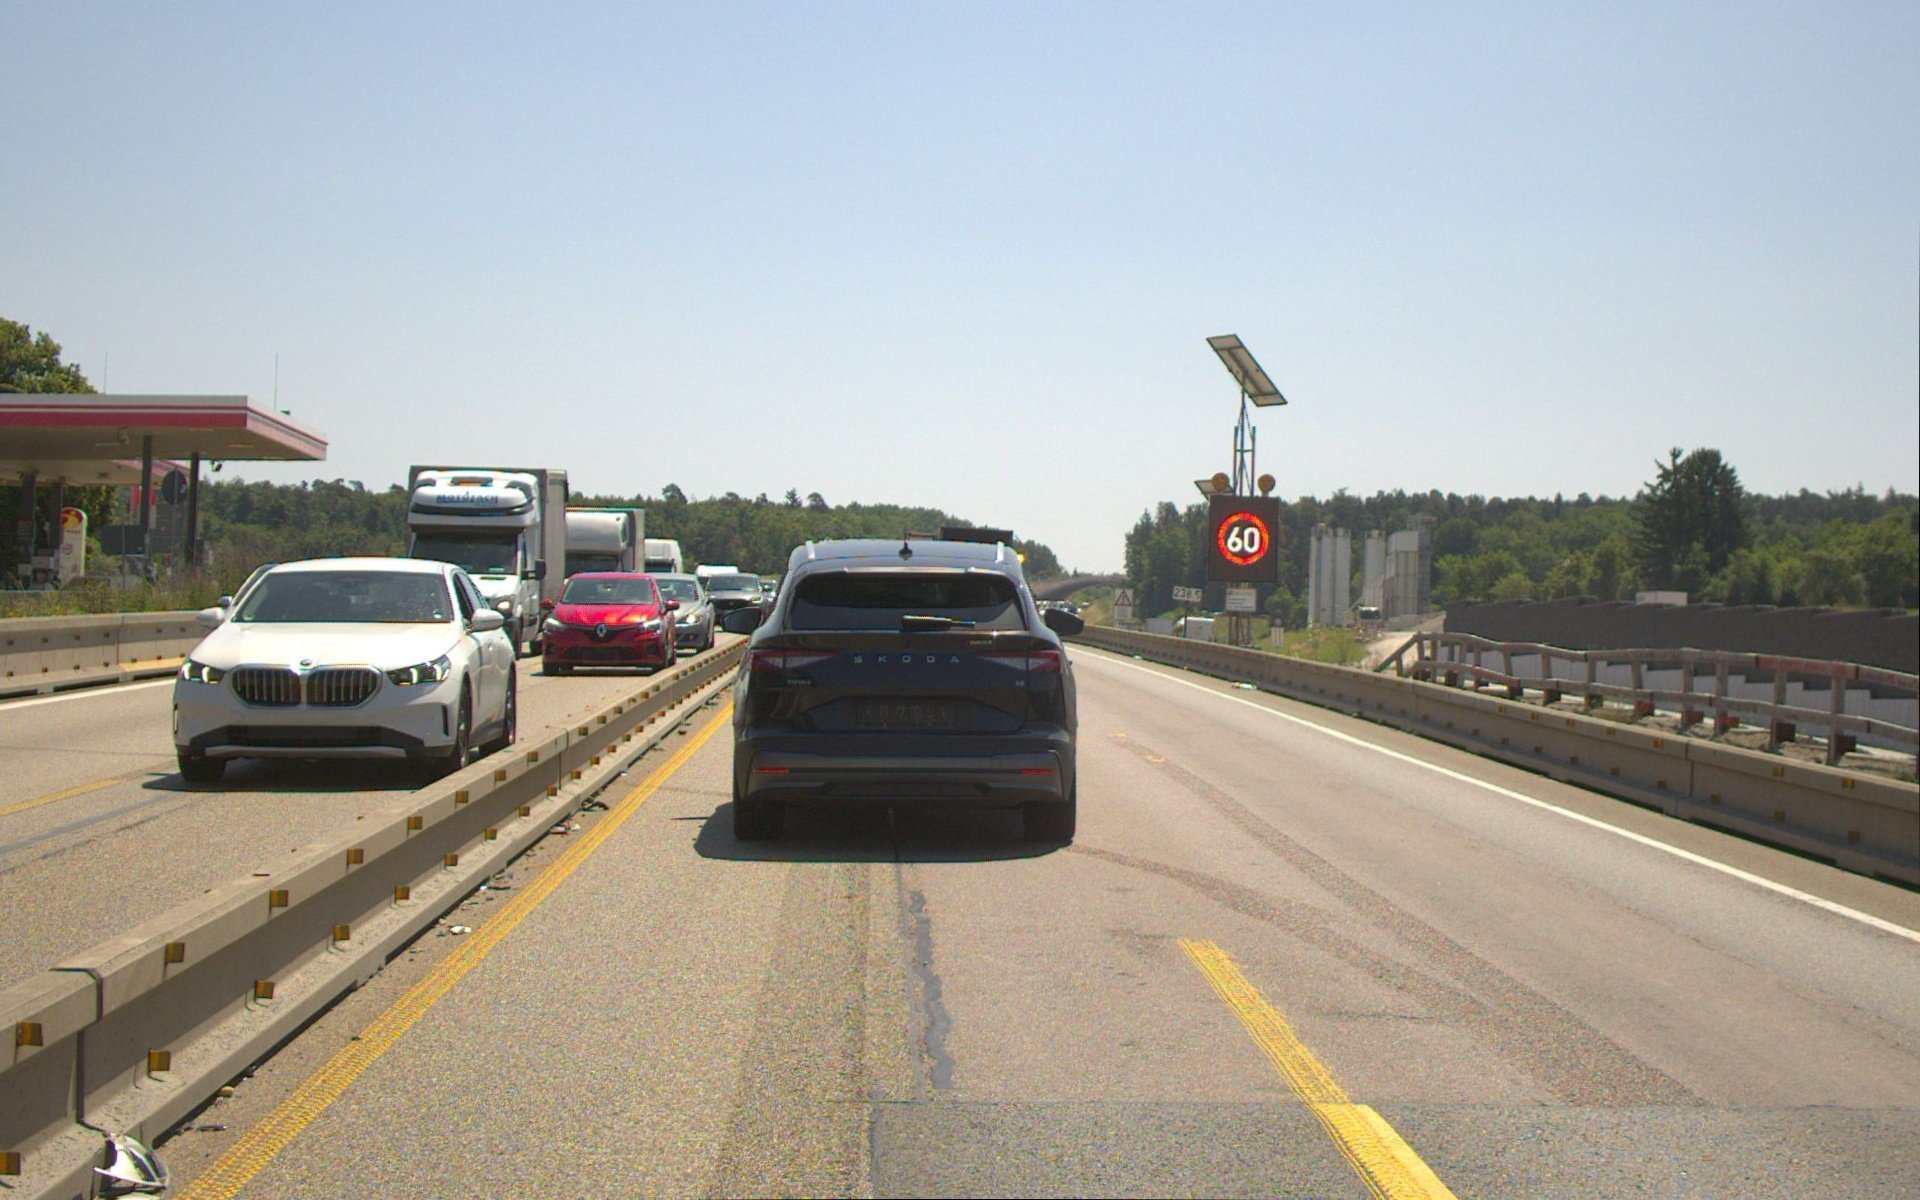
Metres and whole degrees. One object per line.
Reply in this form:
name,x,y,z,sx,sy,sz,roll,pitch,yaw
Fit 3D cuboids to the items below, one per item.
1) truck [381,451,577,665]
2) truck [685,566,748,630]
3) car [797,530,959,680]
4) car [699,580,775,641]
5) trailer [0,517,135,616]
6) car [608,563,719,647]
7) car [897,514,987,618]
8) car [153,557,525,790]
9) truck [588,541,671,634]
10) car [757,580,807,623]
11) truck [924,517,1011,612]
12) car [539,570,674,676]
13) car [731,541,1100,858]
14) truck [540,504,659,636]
truck,-8.112,-0.708,58.769,2.389,3.373,7.715,1,1,-2
truck,-11.227,-0.067,159.037,2.480,2.815,8.129,1,0,-1
car,-1.146,0.076,46.148,1.993,1.838,4.000,3,-1,-3
car,-6.216,0.275,96.218,1.942,1.653,4.745,0,0,-1
trailer,-41.165,-1.423,147.132,3.154,4.097,14.143,0,-1,26
car,-5.223,0.067,60.971,1.681,1.424,4.202,0,1,-1
car,-0.829,-1.410,149.878,3.436,4.087,9.197,5,-1,-1
car,-4.286,0.442,24.451,1.896,1.487,4.760,0,1,-2
truck,-10.328,-0.410,107.791,2.239,2.777,6.493,1,0,-3
car,-7.163,0.048,138.780,1.845,1.635,4.000,1,0,-1
truck,0.206,-1.126,110.337,2.673,2.935,5.620,1,0,-1
car,-4.996,0.301,49.010,1.649,1.429,4.000,0,1,-2
car,-0.249,0.476,19.266,1.842,1.576,4.000,0,1,-1
truck,-9.345,-0.809,89.696,2.495,3.280,8.118,0,1,-2
